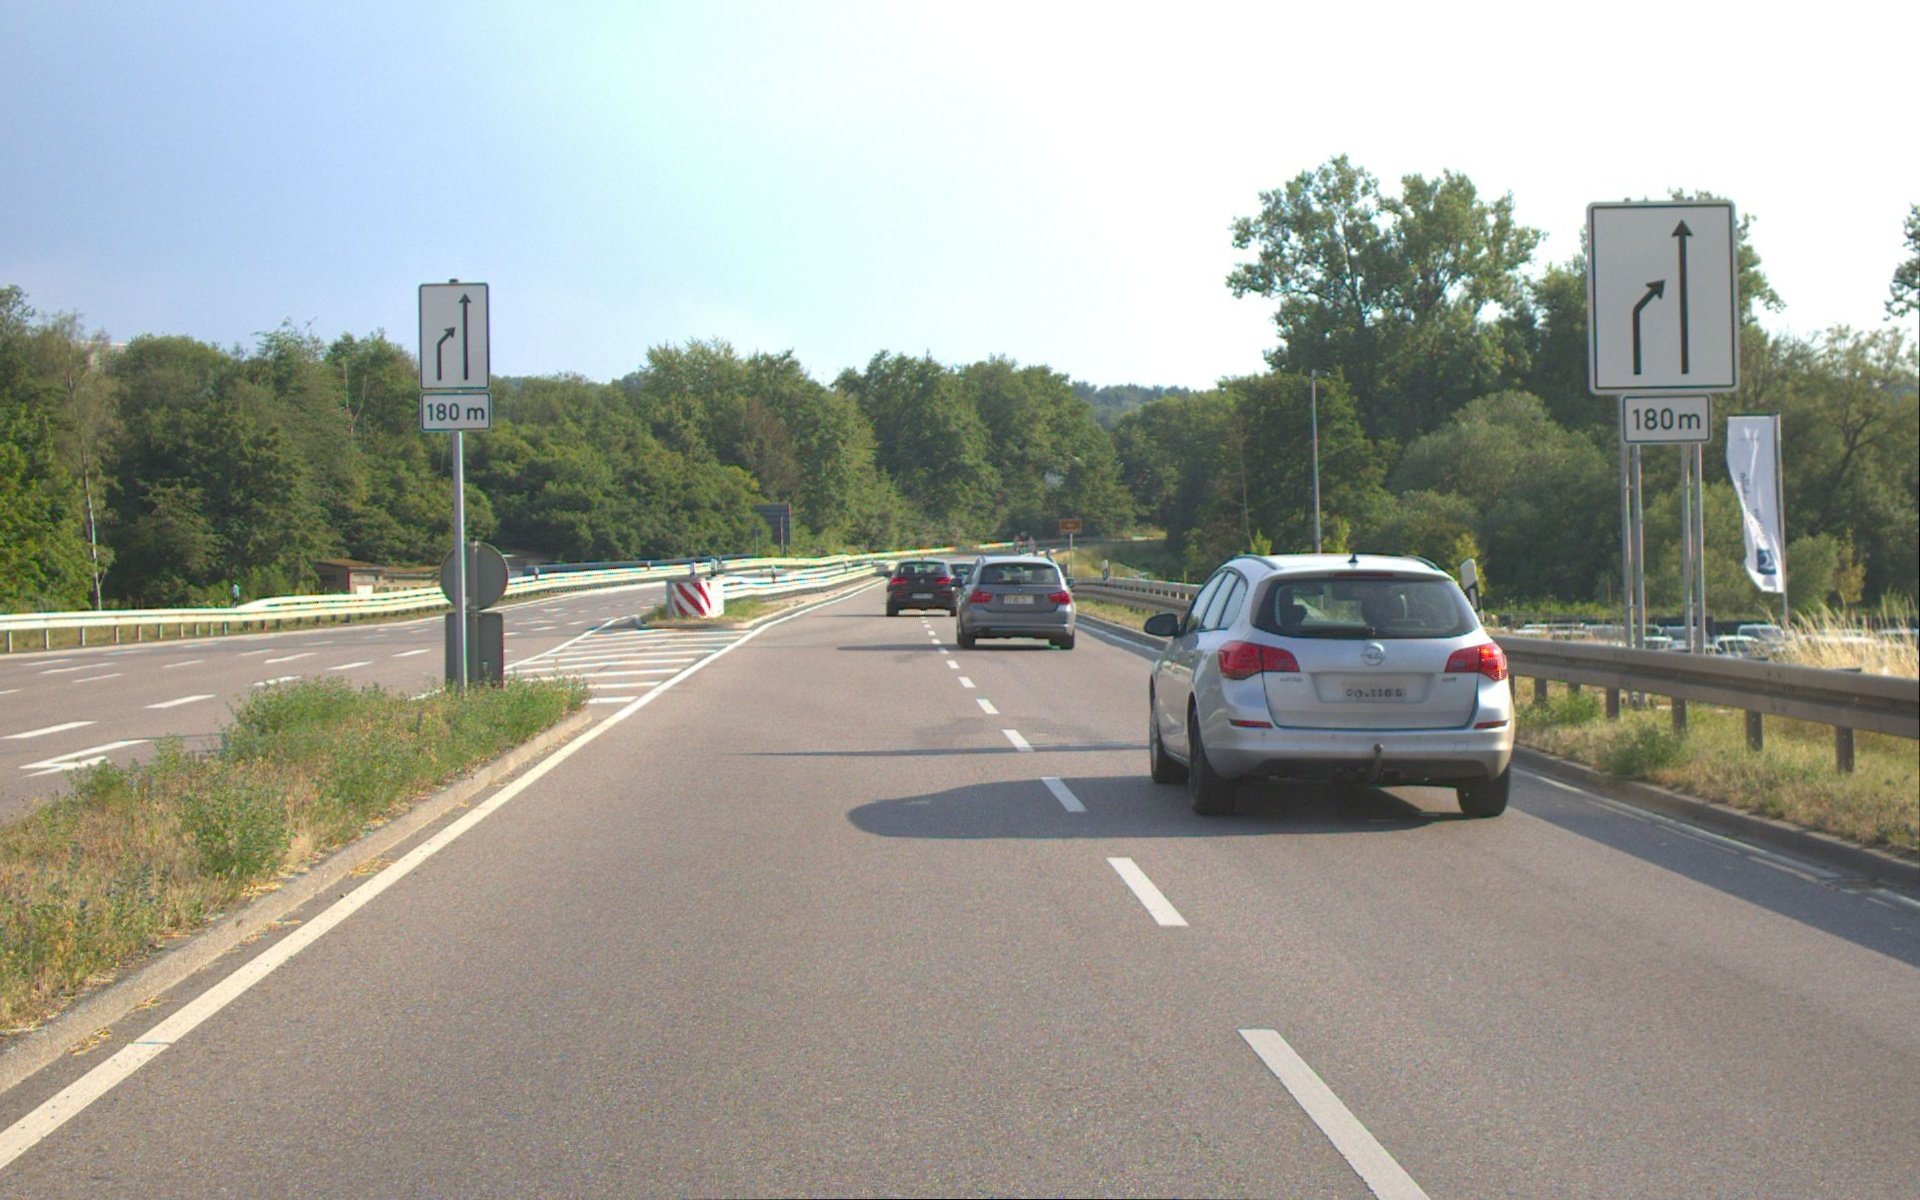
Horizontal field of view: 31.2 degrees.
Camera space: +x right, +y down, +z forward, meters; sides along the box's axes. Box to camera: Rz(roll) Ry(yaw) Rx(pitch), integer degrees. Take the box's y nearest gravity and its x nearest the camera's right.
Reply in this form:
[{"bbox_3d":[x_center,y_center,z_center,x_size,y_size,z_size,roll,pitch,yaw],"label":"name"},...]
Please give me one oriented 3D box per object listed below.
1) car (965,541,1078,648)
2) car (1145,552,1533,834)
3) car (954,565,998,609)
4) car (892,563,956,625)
[{"bbox_3d":[0.929,-0.076,53.458,1.667,1.568,4.000,1,0,0],"label":"car"},{"bbox_3d":[2.132,0.500,20.359,1.809,1.481,4.000,1,0,0],"label":"car"},{"bbox_3d":[0.571,-0.443,119.560,1.492,1.471,3.358,1,0,0],"label":"car"},{"bbox_3d":[-0.874,-0.136,84.312,1.492,1.471,3.358,1,0,0],"label":"car"}]
